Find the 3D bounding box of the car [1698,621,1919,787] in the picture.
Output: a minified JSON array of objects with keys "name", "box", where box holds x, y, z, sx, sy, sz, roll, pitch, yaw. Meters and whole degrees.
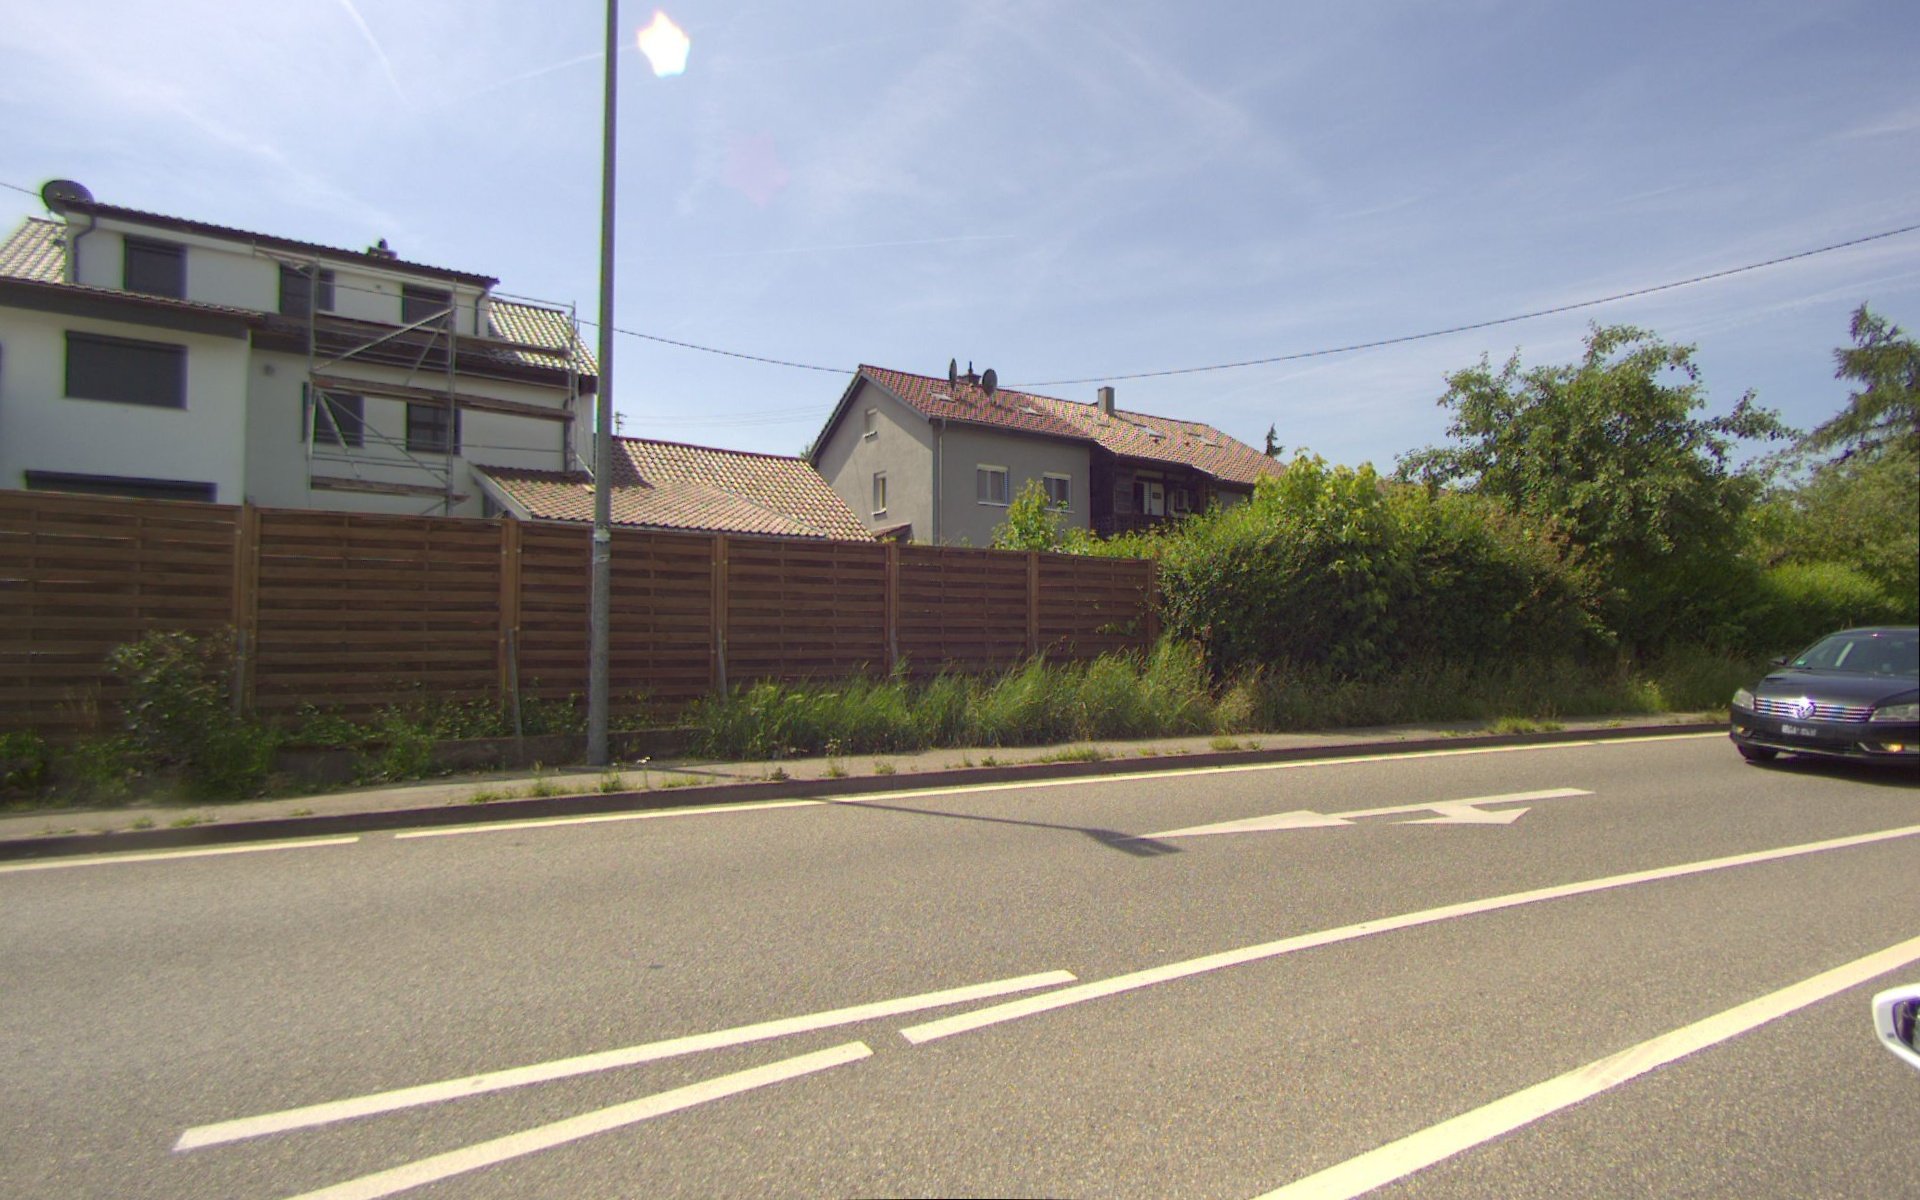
[{"name":"car","box":[10.115,0.964,10.702,4.555,1.436,1.808,1,0,-27]}]
